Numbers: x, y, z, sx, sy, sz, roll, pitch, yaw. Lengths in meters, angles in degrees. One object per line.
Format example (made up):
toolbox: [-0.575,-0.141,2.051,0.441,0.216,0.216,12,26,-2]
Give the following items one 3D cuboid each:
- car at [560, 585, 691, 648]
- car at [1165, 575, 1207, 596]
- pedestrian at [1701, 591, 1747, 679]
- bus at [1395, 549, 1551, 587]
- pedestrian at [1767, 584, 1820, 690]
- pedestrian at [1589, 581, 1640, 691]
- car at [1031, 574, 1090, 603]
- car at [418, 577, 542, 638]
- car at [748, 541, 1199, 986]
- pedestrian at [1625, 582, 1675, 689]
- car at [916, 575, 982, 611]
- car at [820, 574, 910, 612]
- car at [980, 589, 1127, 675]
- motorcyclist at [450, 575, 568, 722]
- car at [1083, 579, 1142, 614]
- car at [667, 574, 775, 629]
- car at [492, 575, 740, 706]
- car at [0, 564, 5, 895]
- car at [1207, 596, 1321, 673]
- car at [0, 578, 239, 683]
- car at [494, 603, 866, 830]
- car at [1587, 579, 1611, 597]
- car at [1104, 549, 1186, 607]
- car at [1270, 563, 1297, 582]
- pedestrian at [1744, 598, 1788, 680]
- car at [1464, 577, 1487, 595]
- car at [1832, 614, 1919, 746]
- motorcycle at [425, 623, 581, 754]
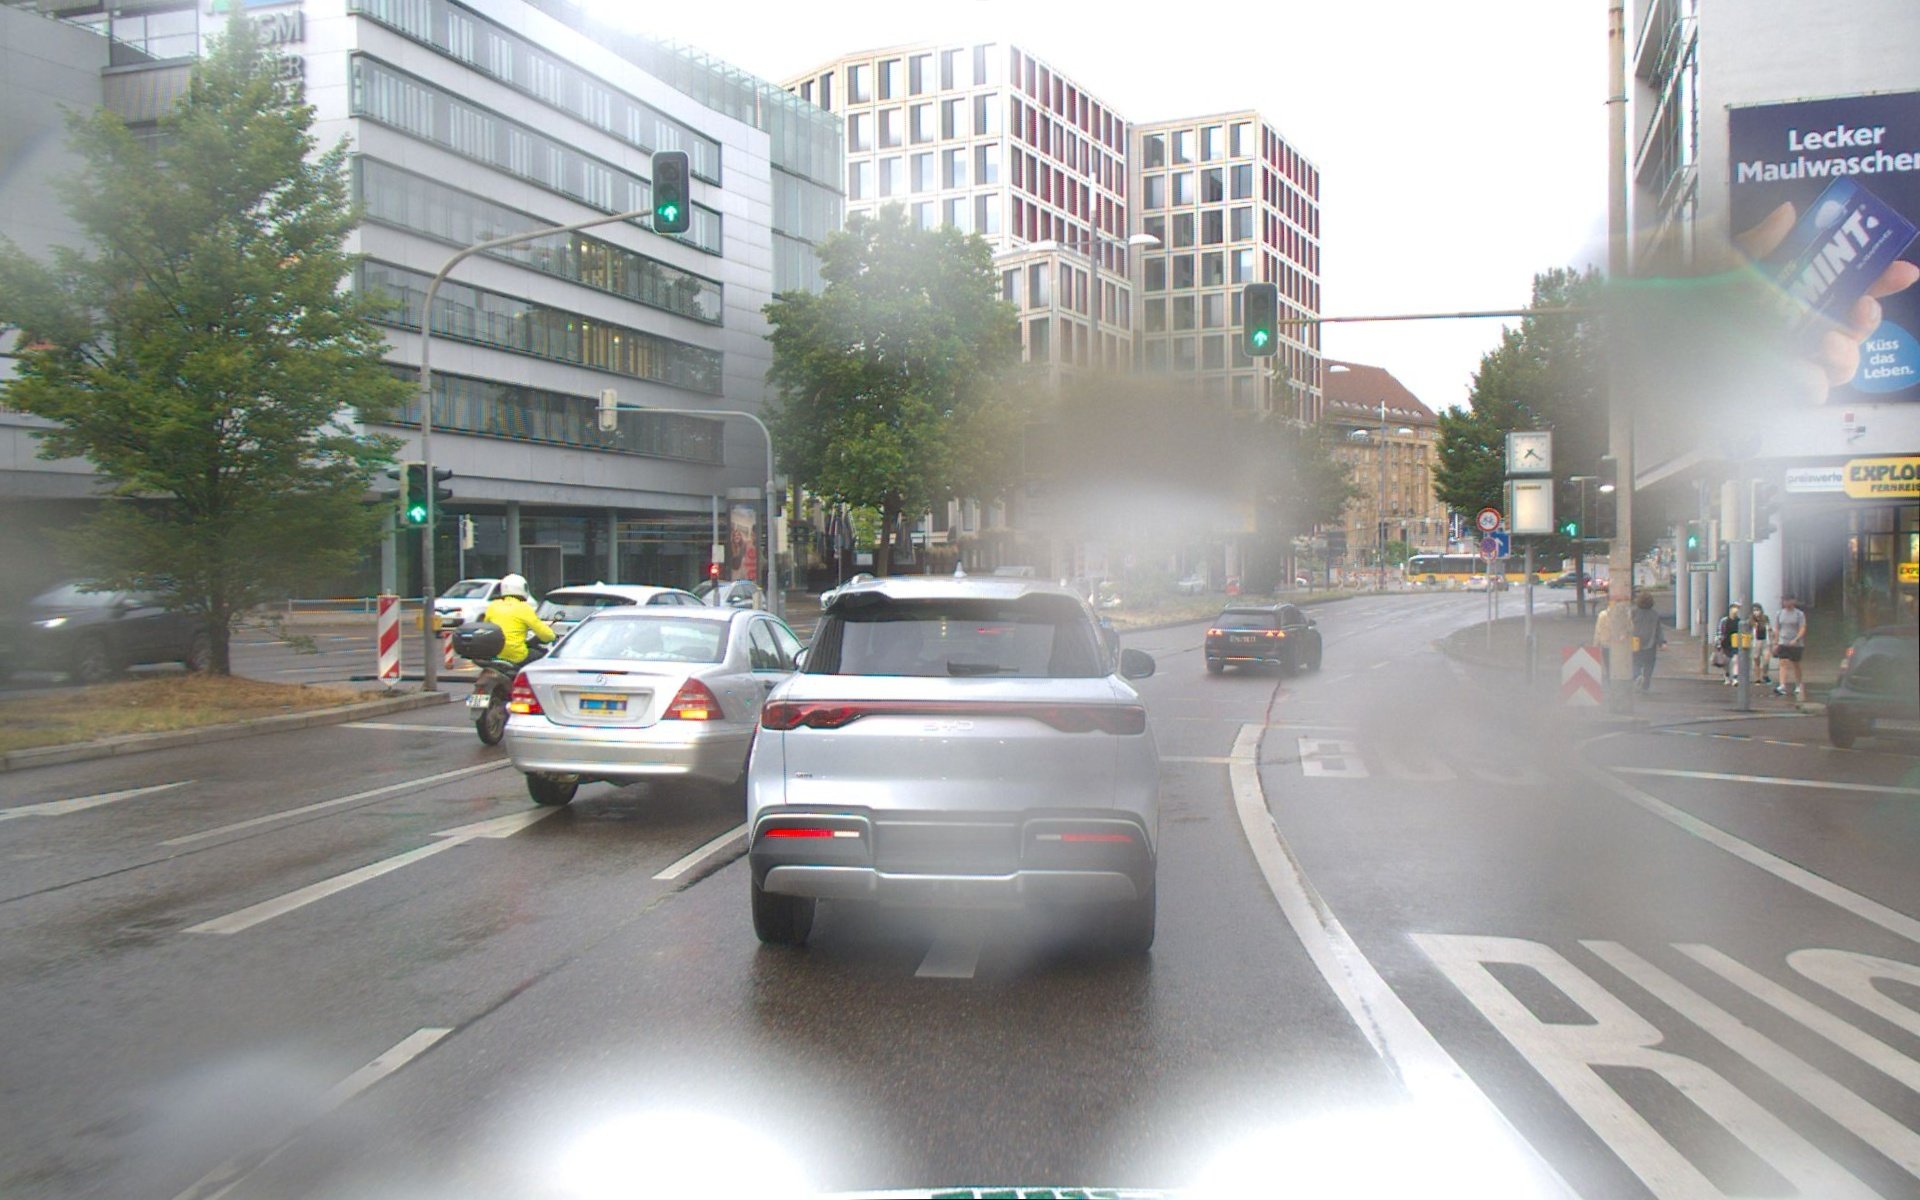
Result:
car: [-7.888,0.392,39.312,1.654,1.409,3.871,1,-1,11]
car: [16.501,-1.059,120.590,1.954,1.514,3.998,0,1,25]
pedestrian: [14.869,0.670,32.174,0.658,1.684,0.649,1,0,41]
bus: [58.864,-3.736,189.916,16.626,4.134,4.435,1,-1,25]
pedestrian: [14.596,0.633,28.945,0.658,1.825,0.769,1,0,41]
pedestrian: [11.049,0.591,27.941,0.733,1.829,0.817,0,1,18]
car: [5.575,-0.646,91.055,1.954,1.514,3.998,0,1,25]
car: [-13.184,0.224,45.640,1.603,1.598,3.721,1,-1,14]
car: [0.119,0.654,8.460,1.739,1.708,4.001,1,-1,2]
pedestrian: [11.981,0.599,28.723,0.733,1.829,0.817,0,1,18]
car: [-0.477,-0.350,77.561,1.598,1.586,4.594,0,1,21]
car: [-3.941,-0.333,69.492,1.776,1.536,5.196,0,1,21]
car: [1.846,0.587,31.478,1.539,1.512,3.999,1,-1,23]
motorcyclist: [-4.506,0.476,16.586,0.753,1.404,1.119,1,-1,6]
car: [6.656,-0.153,71.914,1.598,1.462,3.908,0,1,21]
car: [-7.332,0.040,51.182,1.609,1.609,4.087,1,0,19]
car: [-4.321,0.498,21.421,1.670,1.512,4.003,1,-1,11]
car: [-3.199,0.680,2.064,1.615,1.548,4.270,1,0,-2]
car: [6.461,0.715,34.889,1.659,1.512,4.000,1,-1,21]
car: [-13.848,0.443,26.891,1.609,1.563,4.155,1,0,16]
car: [-1.941,0.768,12.733,1.537,1.432,4.112,1,-1,10]
car: [58.035,-1.070,150.171,1.661,1.512,3.995,1,-1,27]
car: [6.992,-0.795,62.134,1.952,2.049,4.849,1,-1,20]
car: [31.684,-2.677,161.966,1.576,1.771,3.439,1,-1,29]
pedestrian: [15.570,0.742,31.940,0.615,1.570,0.649,1,0,41]
car: [47.311,-1.262,151.727,1.848,1.672,4.001,1,0,20]
car: [11.979,0.926,19.758,3.967,1.454,1.551,1,-1,-43]
motorcycle: [-4.518,0.839,16.501,0.783,1.205,2.030,1,-1,6]
